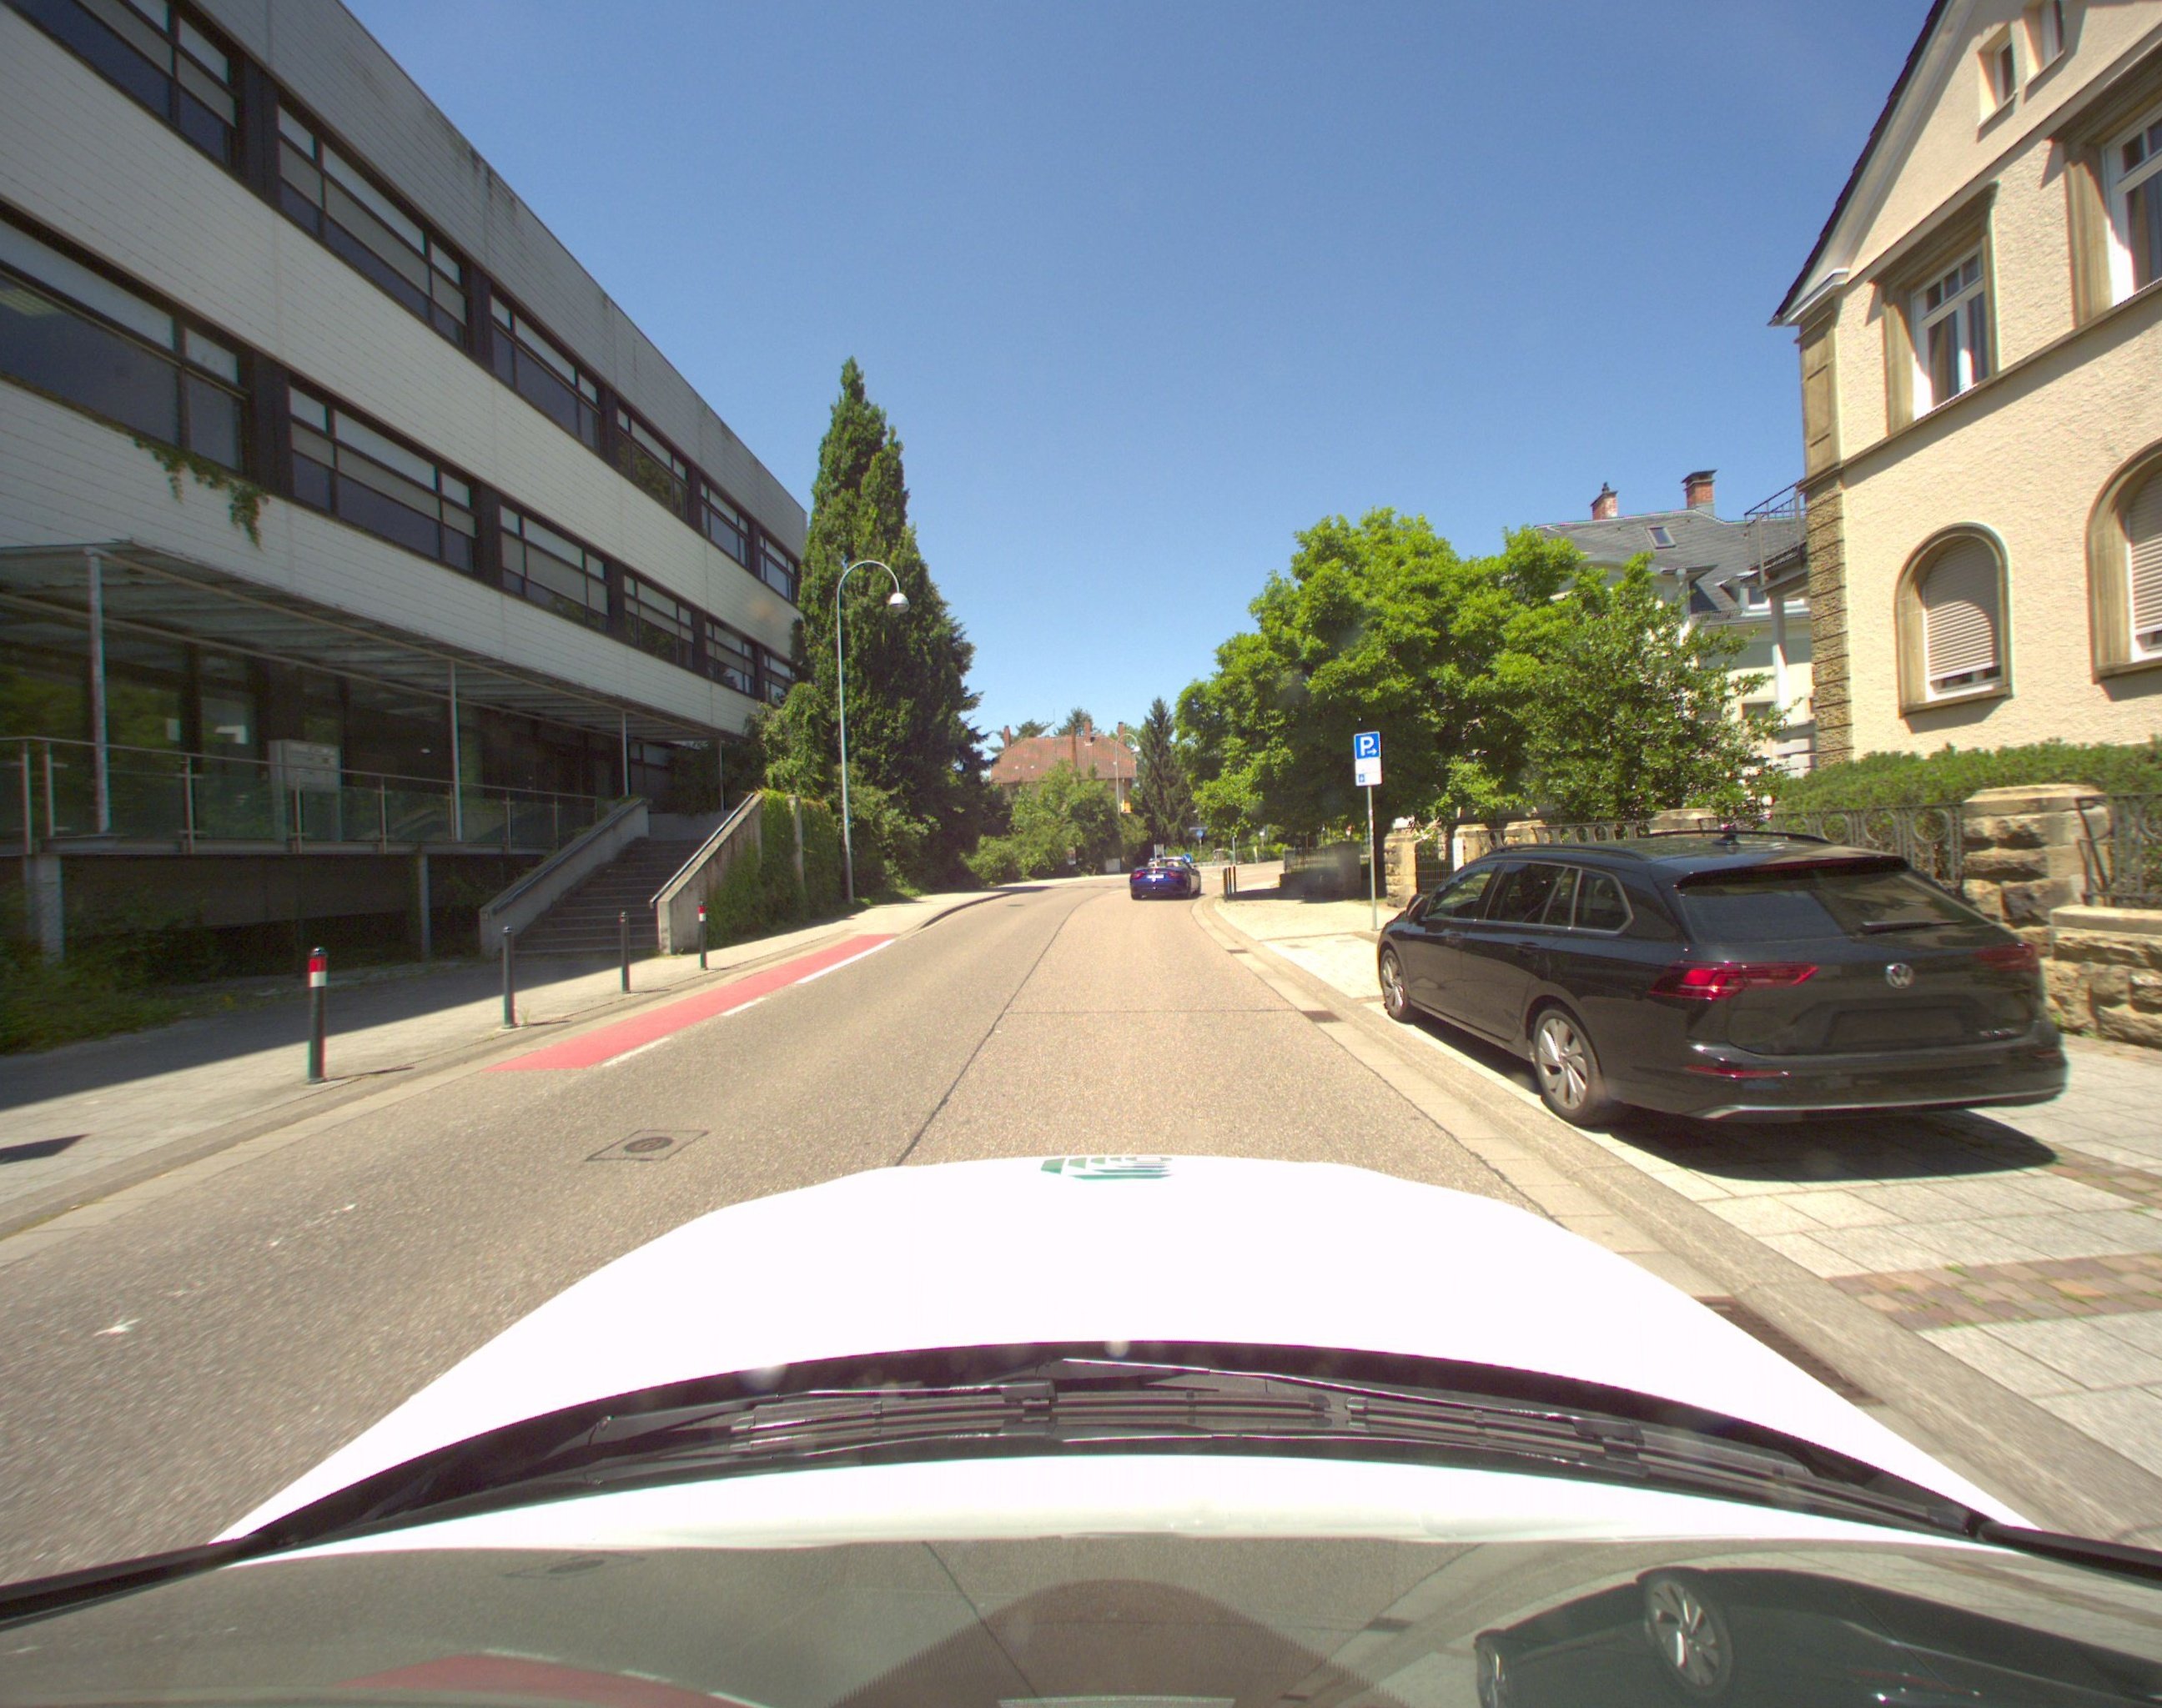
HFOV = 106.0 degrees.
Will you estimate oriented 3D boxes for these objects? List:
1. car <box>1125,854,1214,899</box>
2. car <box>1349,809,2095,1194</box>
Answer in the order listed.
[{"bbox_3d":[3.083,0.707,27.380,1.811,1.337,4.724,-2,0,21],"label":"car"},{"bbox_3d":[3.339,0.604,5.532,1.625,1.446,4.400,-5,0,2],"label":"car"}]
